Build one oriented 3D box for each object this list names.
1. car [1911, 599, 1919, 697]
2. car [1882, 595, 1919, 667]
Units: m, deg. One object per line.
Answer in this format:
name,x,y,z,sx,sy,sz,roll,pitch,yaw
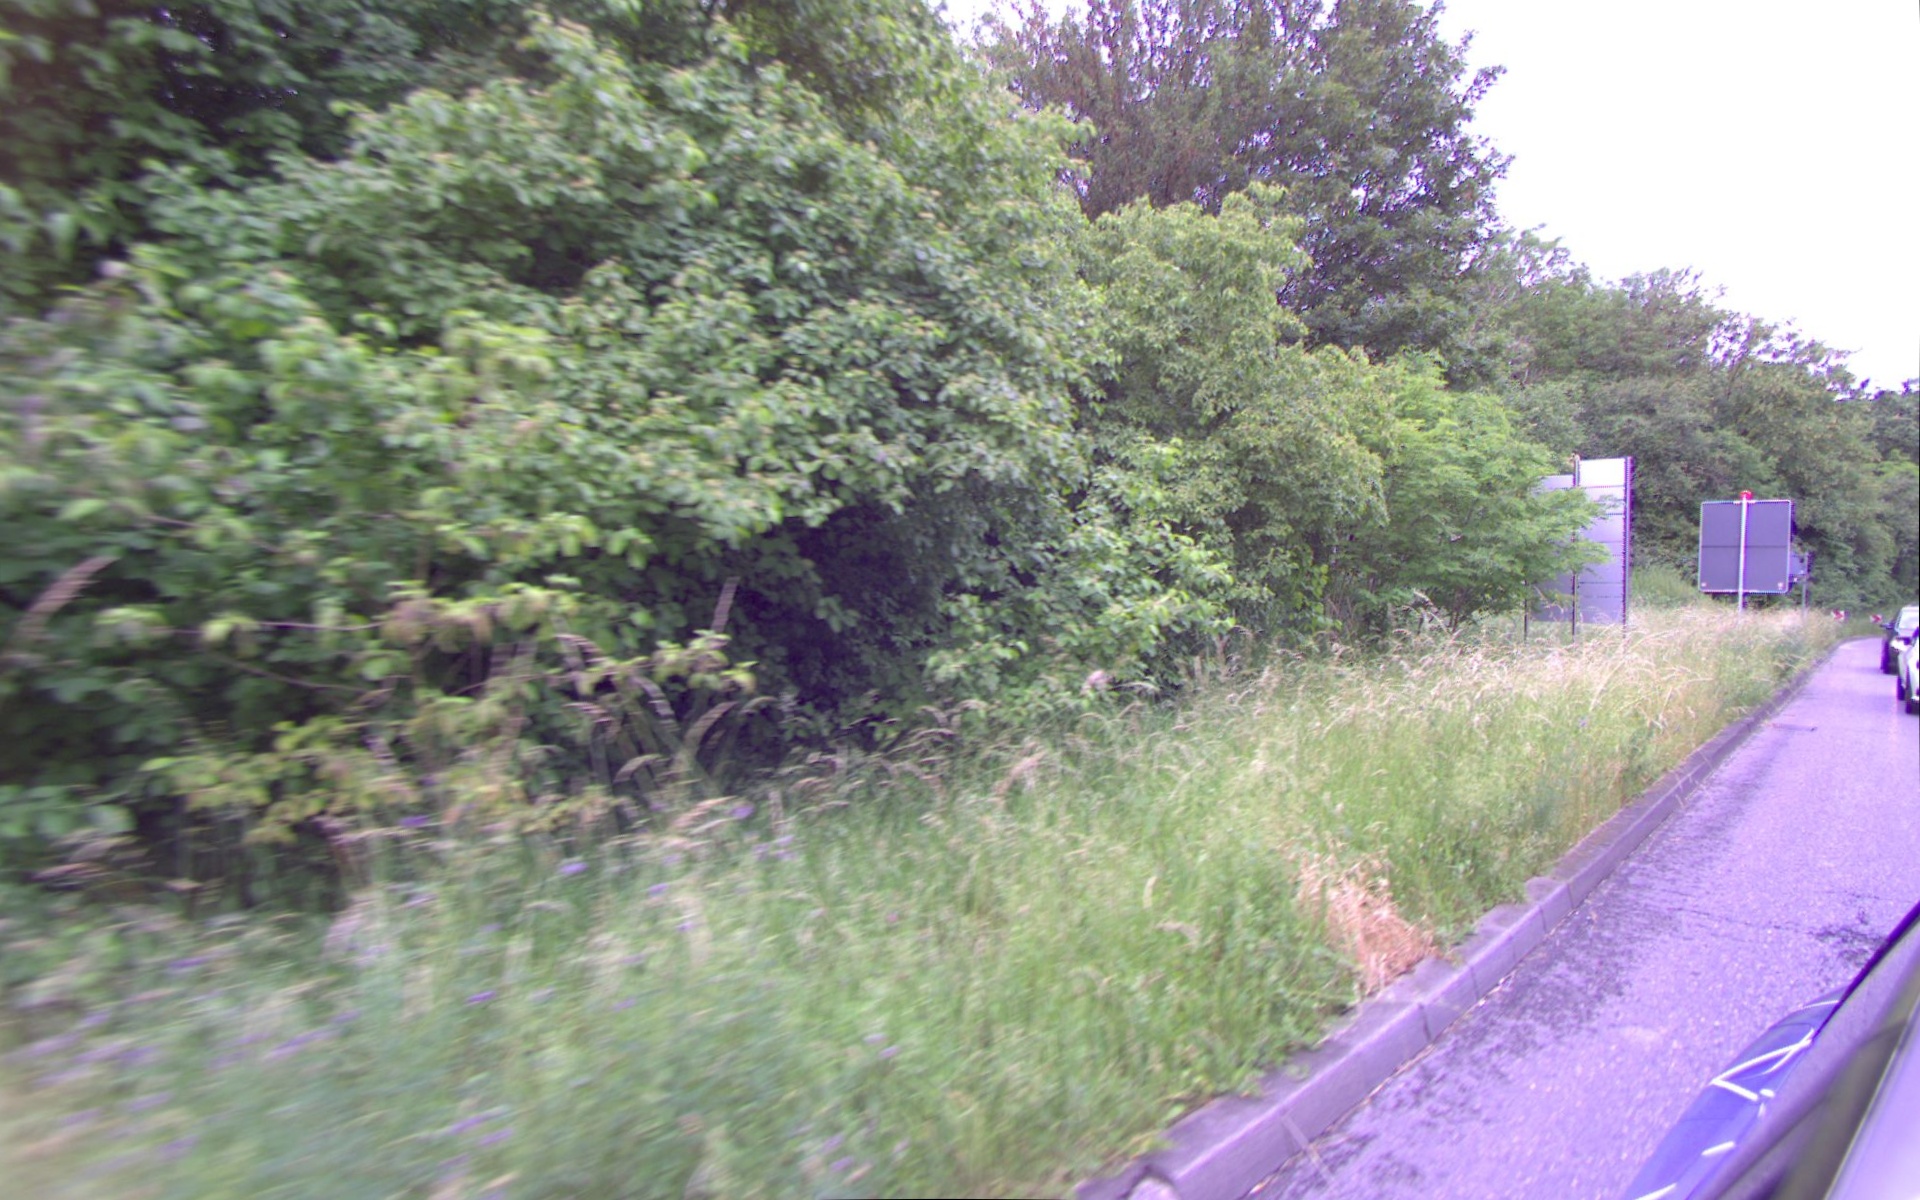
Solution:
car,15.000,0.731,14.449,1.881,1.440,3.941,1,1,41
car,22.602,0.722,23.397,1.818,1.563,3.668,4,2,43
